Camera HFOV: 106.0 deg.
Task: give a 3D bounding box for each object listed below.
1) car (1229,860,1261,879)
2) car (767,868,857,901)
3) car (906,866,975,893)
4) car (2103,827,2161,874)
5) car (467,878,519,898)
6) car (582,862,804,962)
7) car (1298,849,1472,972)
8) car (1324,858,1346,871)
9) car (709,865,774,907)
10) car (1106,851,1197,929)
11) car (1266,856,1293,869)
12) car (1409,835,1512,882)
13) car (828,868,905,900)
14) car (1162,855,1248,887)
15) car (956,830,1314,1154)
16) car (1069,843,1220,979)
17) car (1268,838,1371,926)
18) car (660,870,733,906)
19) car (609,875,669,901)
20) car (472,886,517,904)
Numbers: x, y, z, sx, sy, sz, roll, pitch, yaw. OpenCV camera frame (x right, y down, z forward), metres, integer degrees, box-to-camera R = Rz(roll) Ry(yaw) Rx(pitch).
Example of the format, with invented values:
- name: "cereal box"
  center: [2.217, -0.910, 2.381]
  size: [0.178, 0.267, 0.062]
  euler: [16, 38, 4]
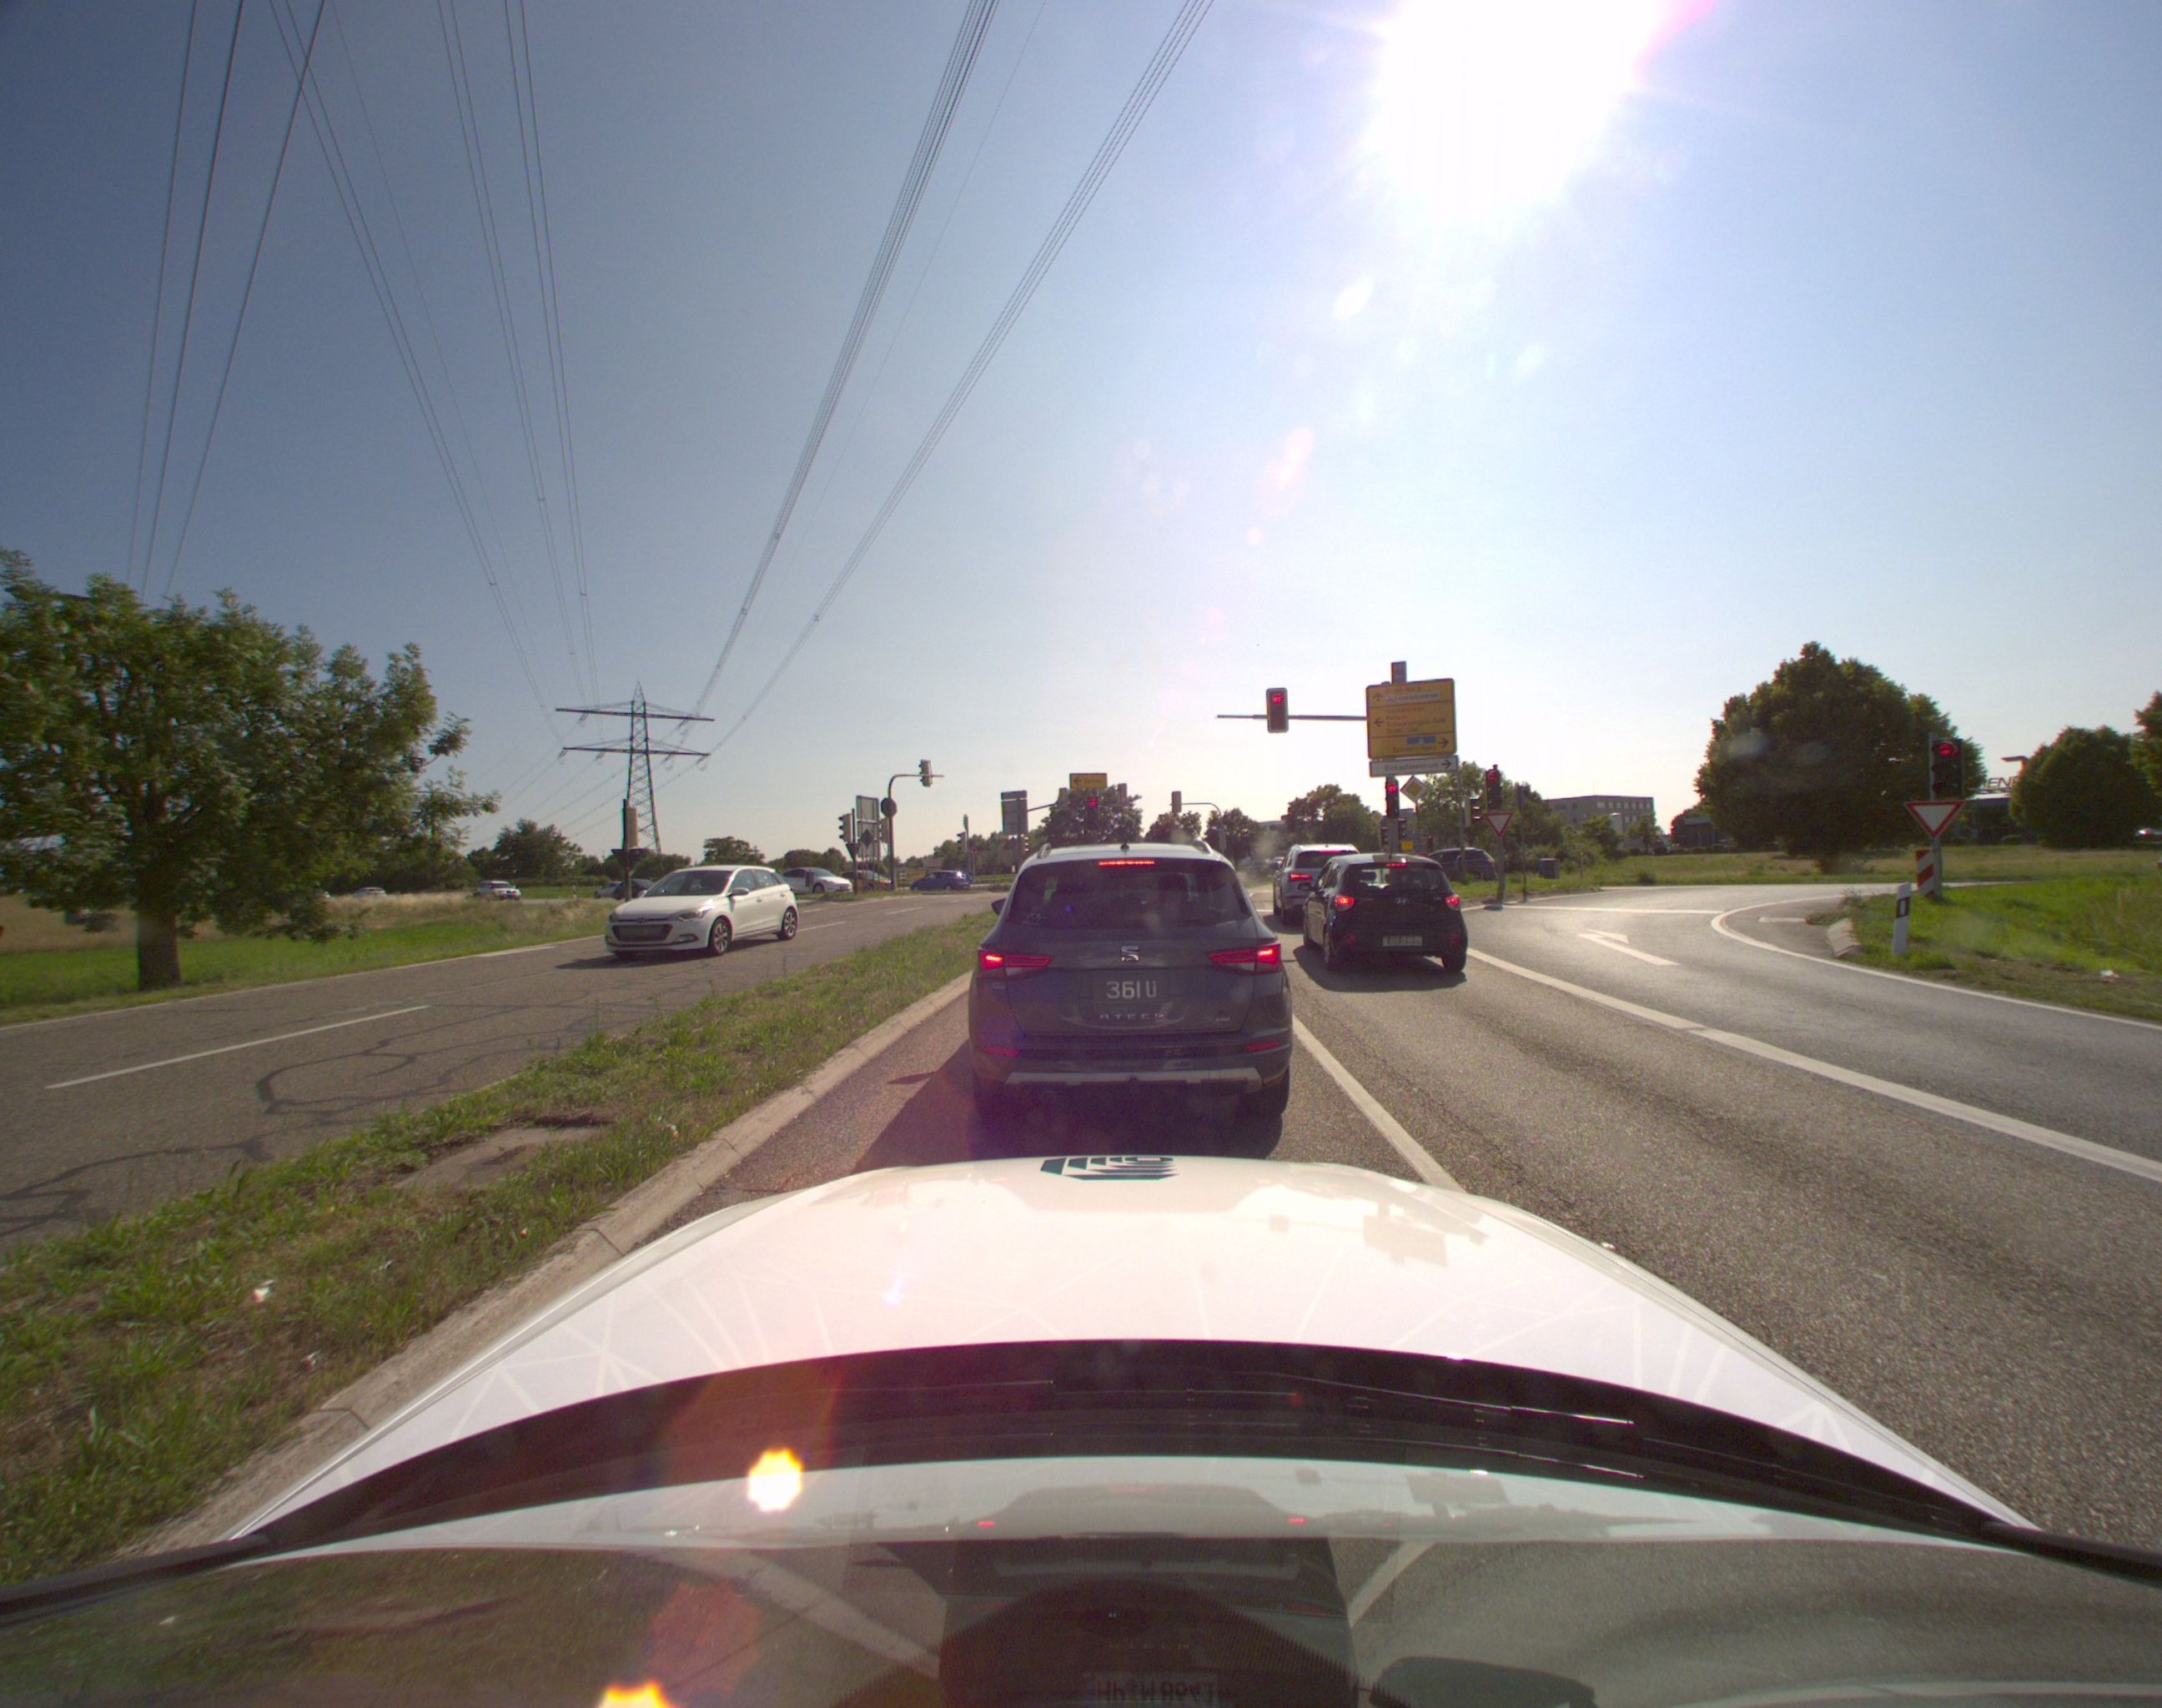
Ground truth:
- name: "car"
  center: [14.847, 1.406, 73.762]
  size: [1.859, 1.673, 3.792]
  euler: [0, -1, 28]
- name: "car"
  center: [-14.365, 1.644, 43.448]
  size: [4.700, 1.651, 1.831]
  euler: [-2, -1, 29]
- name: "car"
  center: [-8.750, 1.582, 50.694]
  size: [3.832, 1.519, 1.818]
  euler: [-2, -1, 25]
- name: "car"
  center: [35.661, -0.107, 25.976]
  size: [3.500, 1.516, 1.471]
  euler: [0, -1, 29]
- name: "car"
  center: [-47.616, 2.720, 65.899]
  size: [3.949, 1.485, 1.831]
  euler: [0, 0, 28]
- name: "car"
  center: [-6.554, 0.909, 14.289]
  size: [1.709, 1.465, 3.918]
  euler: [-1, 0, 5]
- name: "car"
  center: [4.051, 0.675, 11.359]
  size: [1.623, 1.448, 3.303]
  euler: [-1, 0, 9]
- name: "car"
  center: [32.193, 1.332, 103.212]
  size: [1.859, 1.673, 3.793]
  euler: [0, -1, 31]
- name: "car"
  center: [-14.592, 1.343, 34.910]
  size: [1.827, 1.651, 3.958]
  euler: [-1, -1, -34]
- name: "car"
  center: [1.576, 0.706, 17.355]
  size: [1.732, 1.484, 3.631]
  euler: [0, -1, 7]
- name: "car"
  center: [23.677, 1.026, 97.220]
  size: [1.701, 1.497, 3.794]
  euler: [-1, -1, 38]
- name: "car"
  center: [16.791, 0.222, 36.065]
  size: [3.969, 1.953, 1.706]
  euler: [-2, -1, 29]
- name: "car"
  center: [-12.120, 1.690, 45.982]
  size: [3.949, 1.651, 1.831]
  euler: [-2, -1, 29]
- name: "car"
  center: [6.465, 0.873, 42.557]
  size: [3.986, 1.519, 1.818]
  euler: [-2, -1, 27]
- name: "car"
  center: [0.316, 0.685, 5.770]
  size: [1.735, 1.569, 3.625]
  euler: [0, -1, 2]
- name: "car"
  center: [0.825, 0.679, 11.248]
  size: [1.735, 1.569, 3.626]
  euler: [0, -1, 3]
- name: "car"
  center: [5.019, 0.551, 17.570]
  size: [1.623, 1.677, 3.758]
  euler: [-1, 0, 9]
- name: "car"
  center: [-19.024, 1.683, 40.242]
  size: [3.949, 1.651, 1.831]
  euler: [-2, -1, 42]
- name: "car"
  center: [-30.729, 2.344, 56.569]
  size: [3.949, 1.651, 1.831]
  euler: [-2, -1, 29]
- name: "car"
  center: [-55.321, 3.853, 76.793]
  size: [3.831, 1.519, 1.818]
  euler: [-2, -1, 27]
